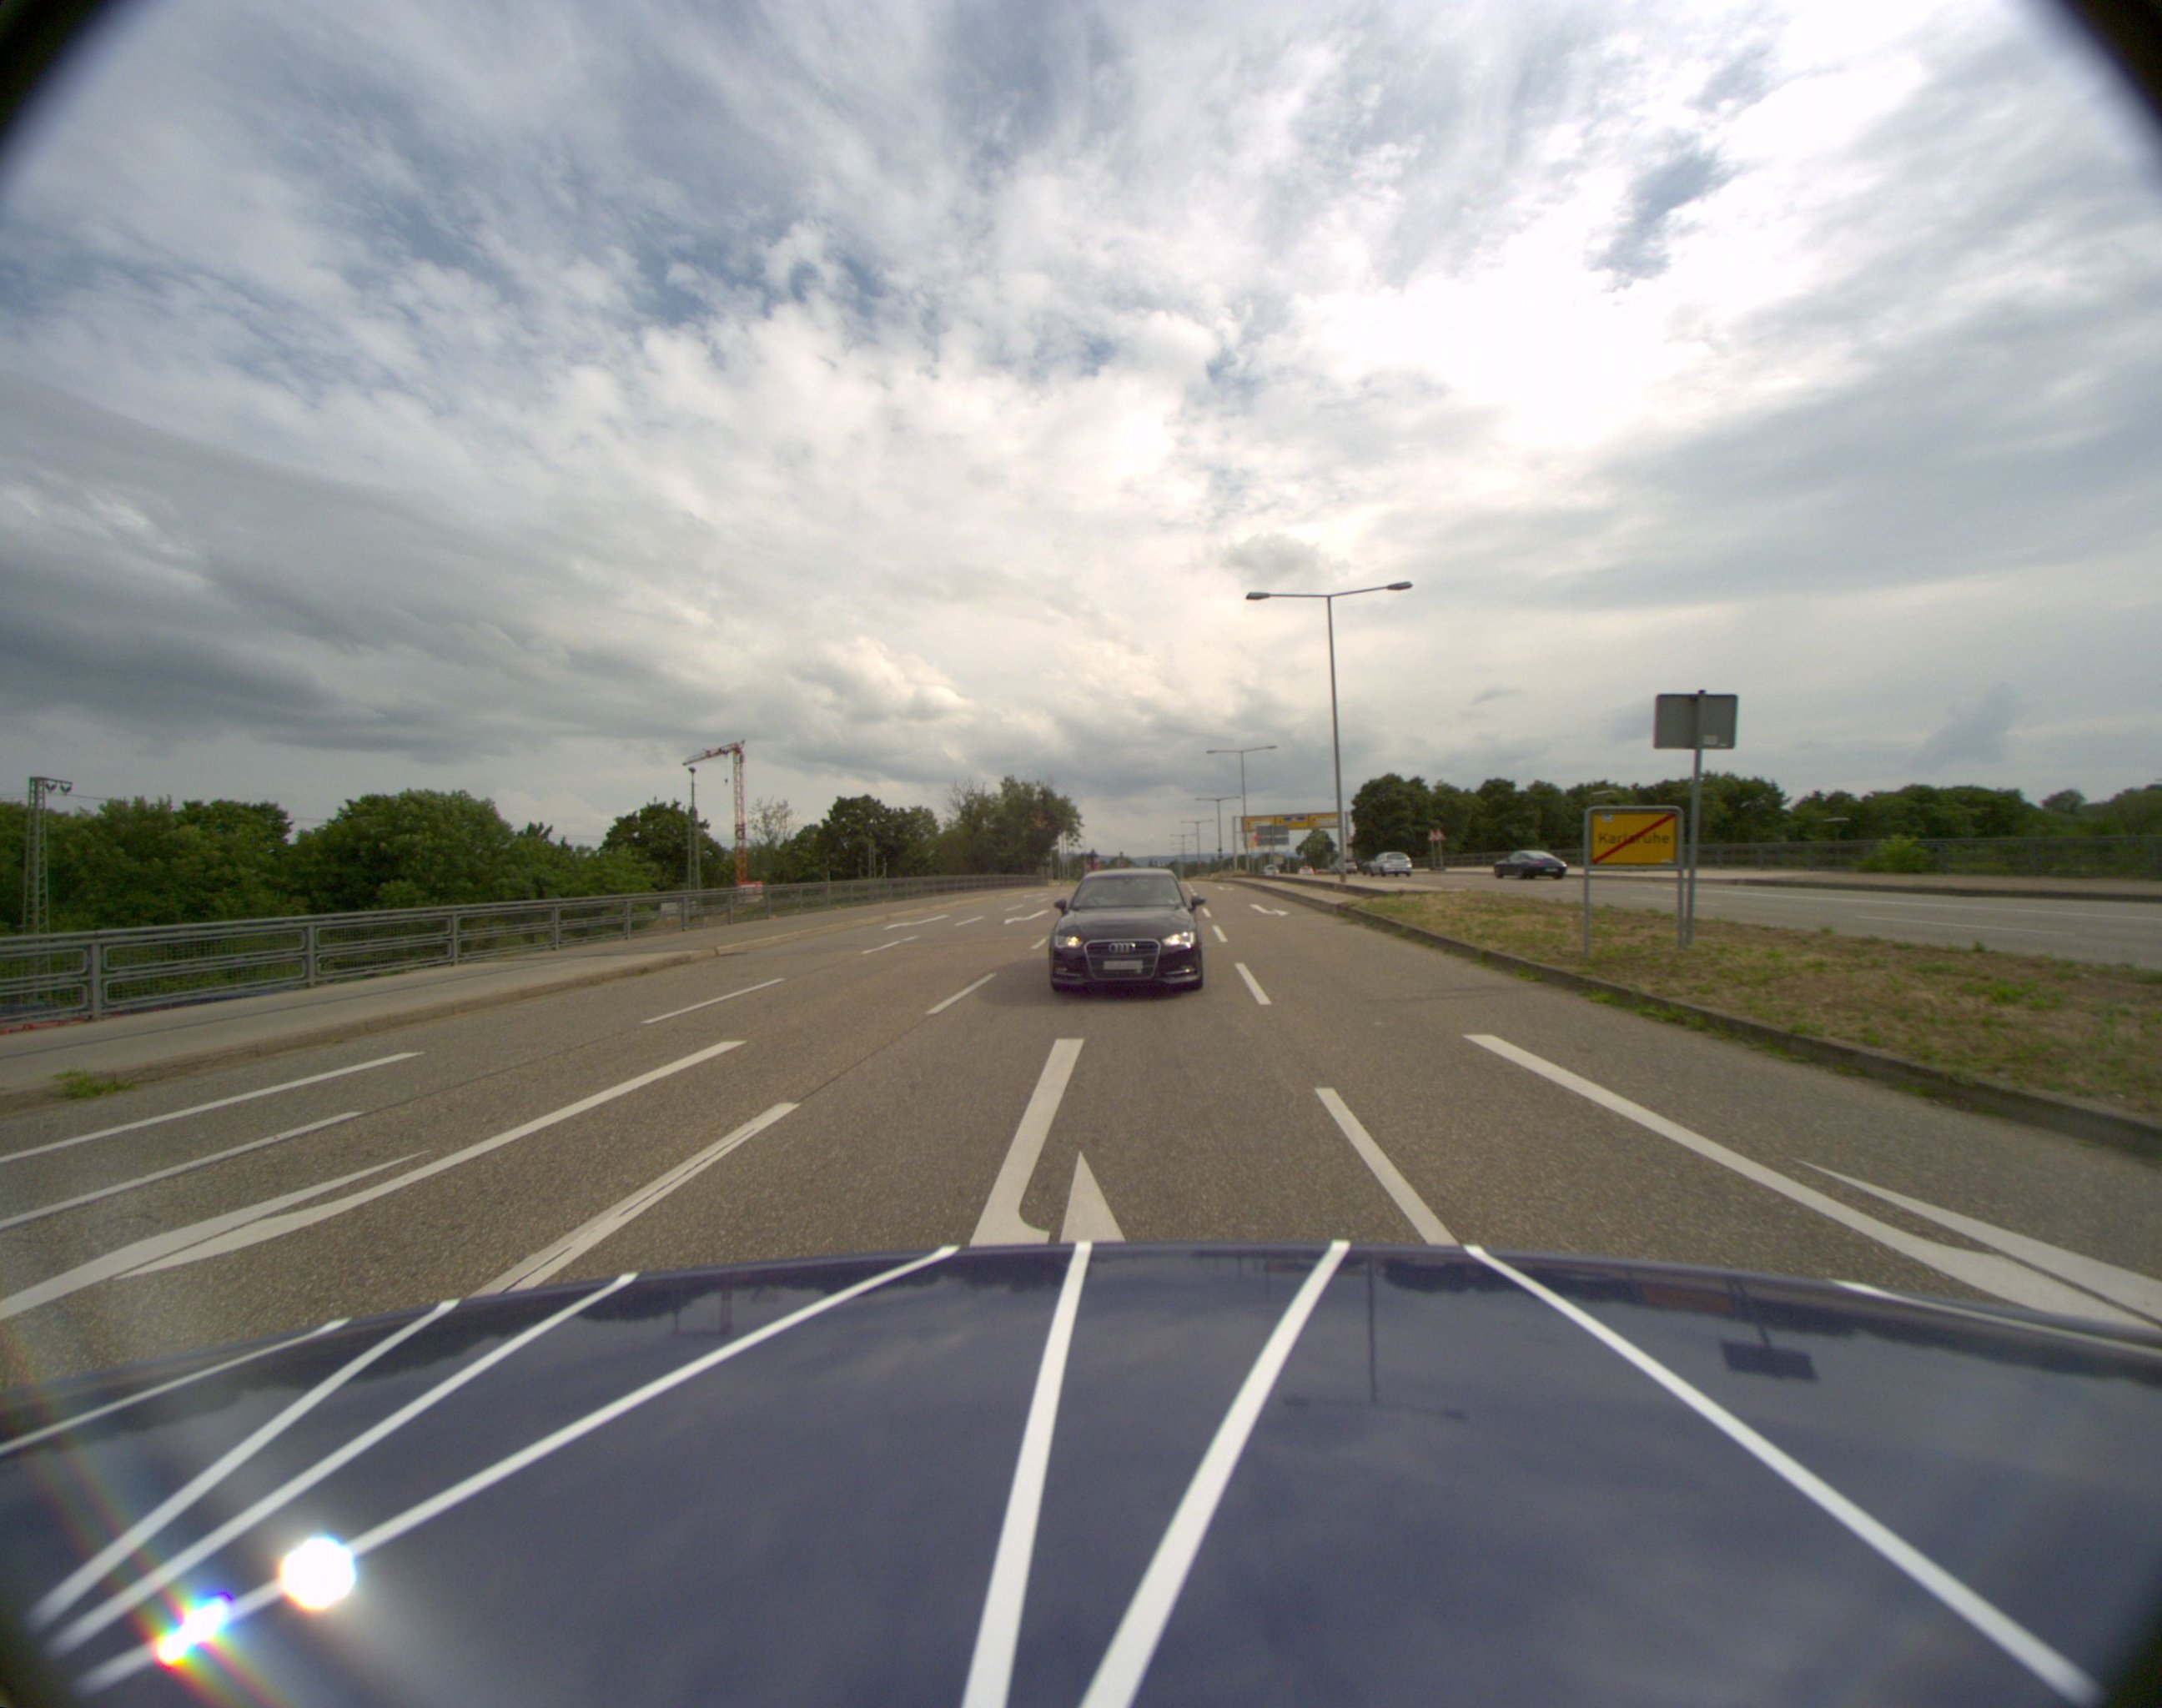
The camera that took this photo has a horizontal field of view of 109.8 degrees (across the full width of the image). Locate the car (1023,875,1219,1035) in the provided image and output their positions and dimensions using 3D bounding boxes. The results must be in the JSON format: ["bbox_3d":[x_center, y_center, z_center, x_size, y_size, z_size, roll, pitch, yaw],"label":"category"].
[{"bbox_3d":[0.643,1.053,9.684,1.851,1.355,4.732,-2,0,6],"label":"car"}]

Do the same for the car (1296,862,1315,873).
[{"bbox_3d":[29.751,1.778,100.729,1.922,1.407,4.886,-1,-1,11],"label":"car"}]

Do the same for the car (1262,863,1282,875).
[{"bbox_3d":[24.206,1.900,96.559,1.812,1.407,4.031,-1,0,5],"label":"car"}]

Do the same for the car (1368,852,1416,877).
[{"bbox_3d":[18.559,0.593,45.481,1.619,1.402,3.862,-1,0,6],"label":"car"}]

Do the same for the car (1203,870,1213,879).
[{"bbox_3d":[26.370,4.261,157.628,1.891,1.630,4.588,-2,-1,7],"label":"car"}]

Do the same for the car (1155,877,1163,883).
[{"bbox_3d":[19.635,6.439,191.061,1.860,1.335,4.002,-2,-1,7],"label":"car"}]

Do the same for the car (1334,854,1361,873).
[{"bbox_3d":[24.555,0.885,70.208,1.745,1.649,4.082,-1,0,10],"label":"car"}]

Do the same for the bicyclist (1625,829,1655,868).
[{"bbox_3d":[24.751,-0.247,33.657,0.685,1.662,0.847,-2,0,4],"label":"bicyclist"}]

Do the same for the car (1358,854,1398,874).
[{"bbox_3d":[21.834,0.694,55.993,1.745,1.402,3.878,-1,0,5],"label":"car"}]

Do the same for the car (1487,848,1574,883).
[{"bbox_3d":[20.539,0.482,34.908,1.825,1.438,4.355,-2,0,7],"label":"car"}]

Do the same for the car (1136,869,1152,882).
[{"bbox_3d":[8.546,2.922,102.708,1.725,1.512,3.952,-4,0,8],"label":"car"}]

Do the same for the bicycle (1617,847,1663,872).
[{"bbox_3d":[24.763,0.253,33.707,0.685,1.047,1.995,-2,0,5],"label":"bicycle"}]
